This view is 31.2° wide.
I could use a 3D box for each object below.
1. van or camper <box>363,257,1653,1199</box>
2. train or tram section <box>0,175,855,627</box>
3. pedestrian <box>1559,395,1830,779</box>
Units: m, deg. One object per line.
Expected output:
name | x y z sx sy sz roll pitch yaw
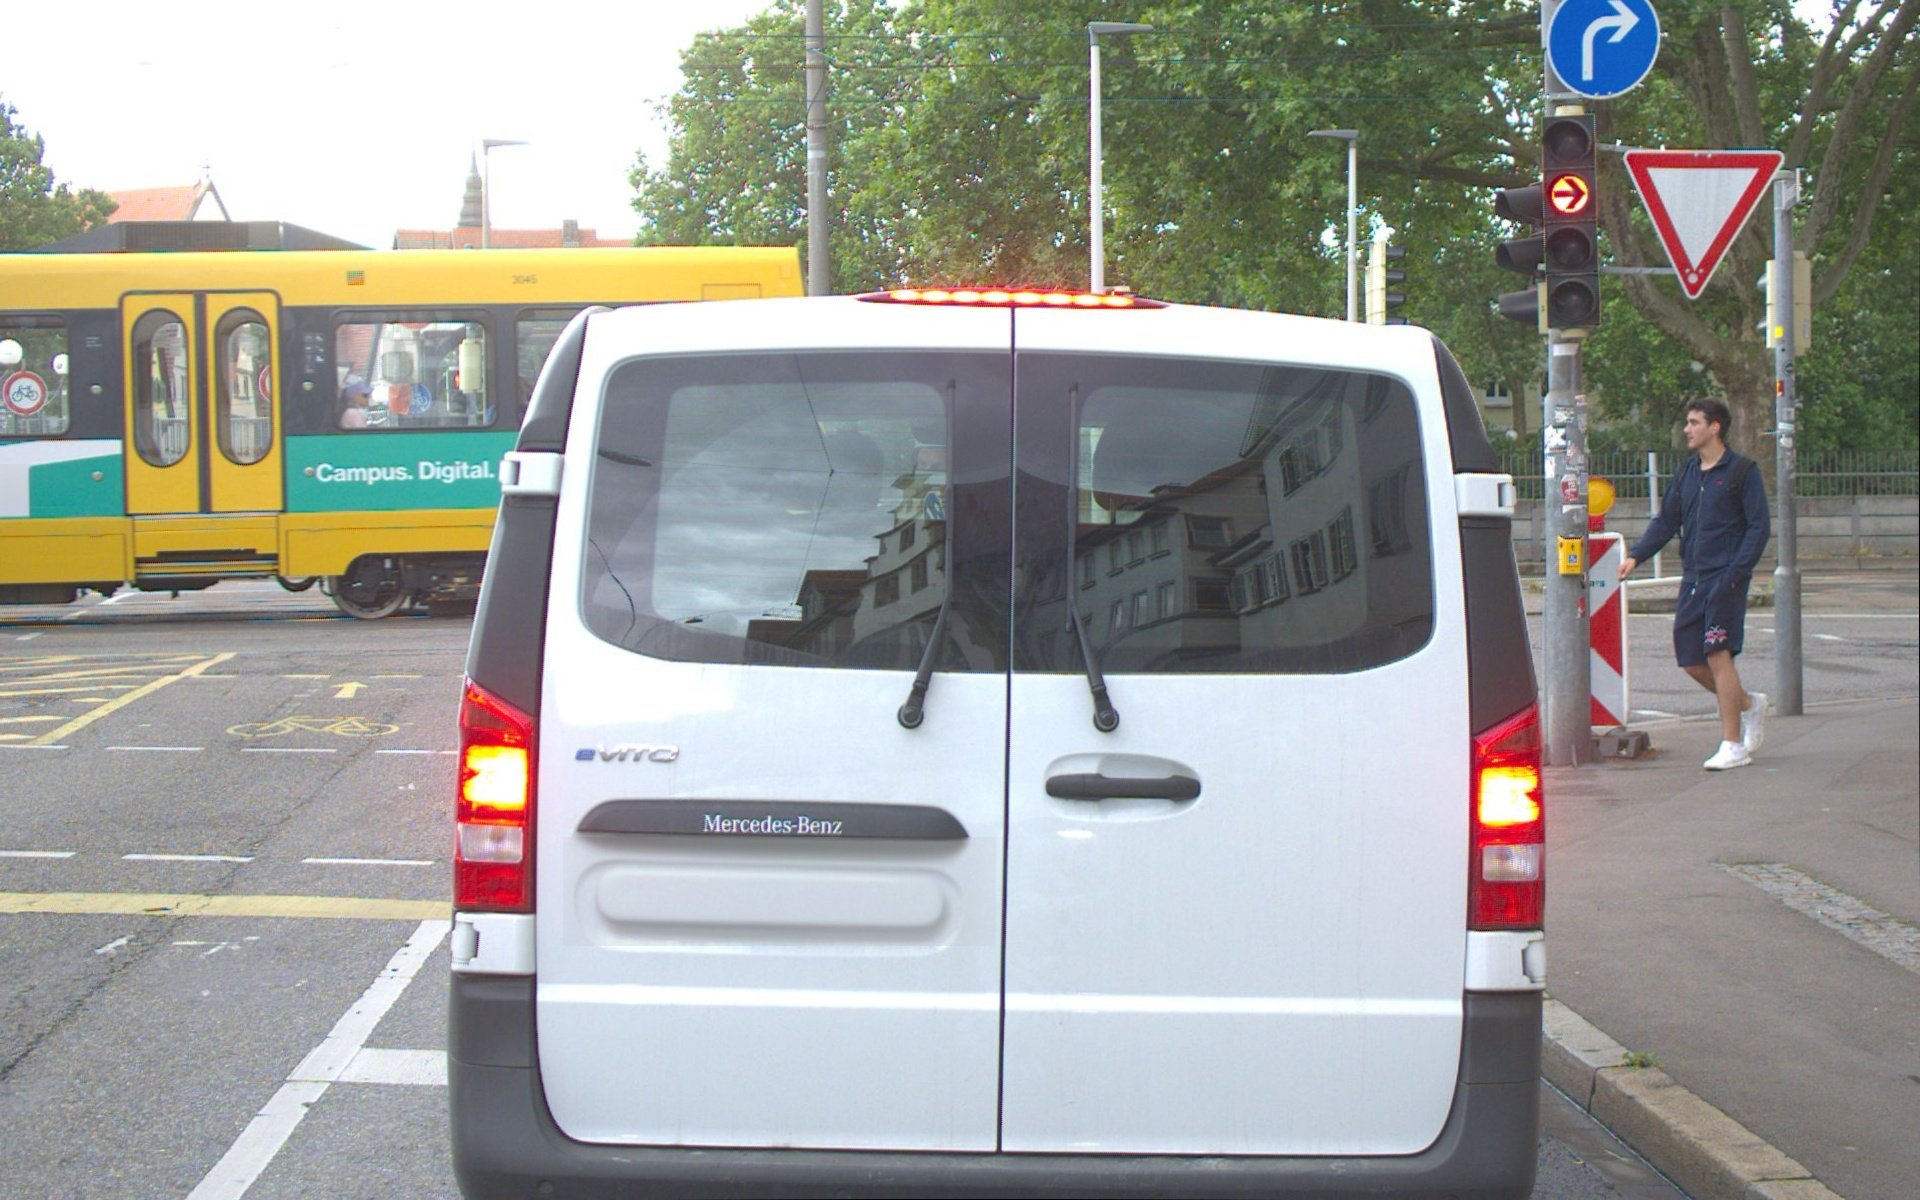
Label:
van or camper | -0.067 0.347 7.436 1.937 1.918 4.442 1 3 -4
train or tram section | -10.547 -1.797 32.297 18.765 3.988 3.267 -2 4 -10
pedestrian | 3.685 -0.083 17.237 1.149 1.850 0.679 -3 2 -33
